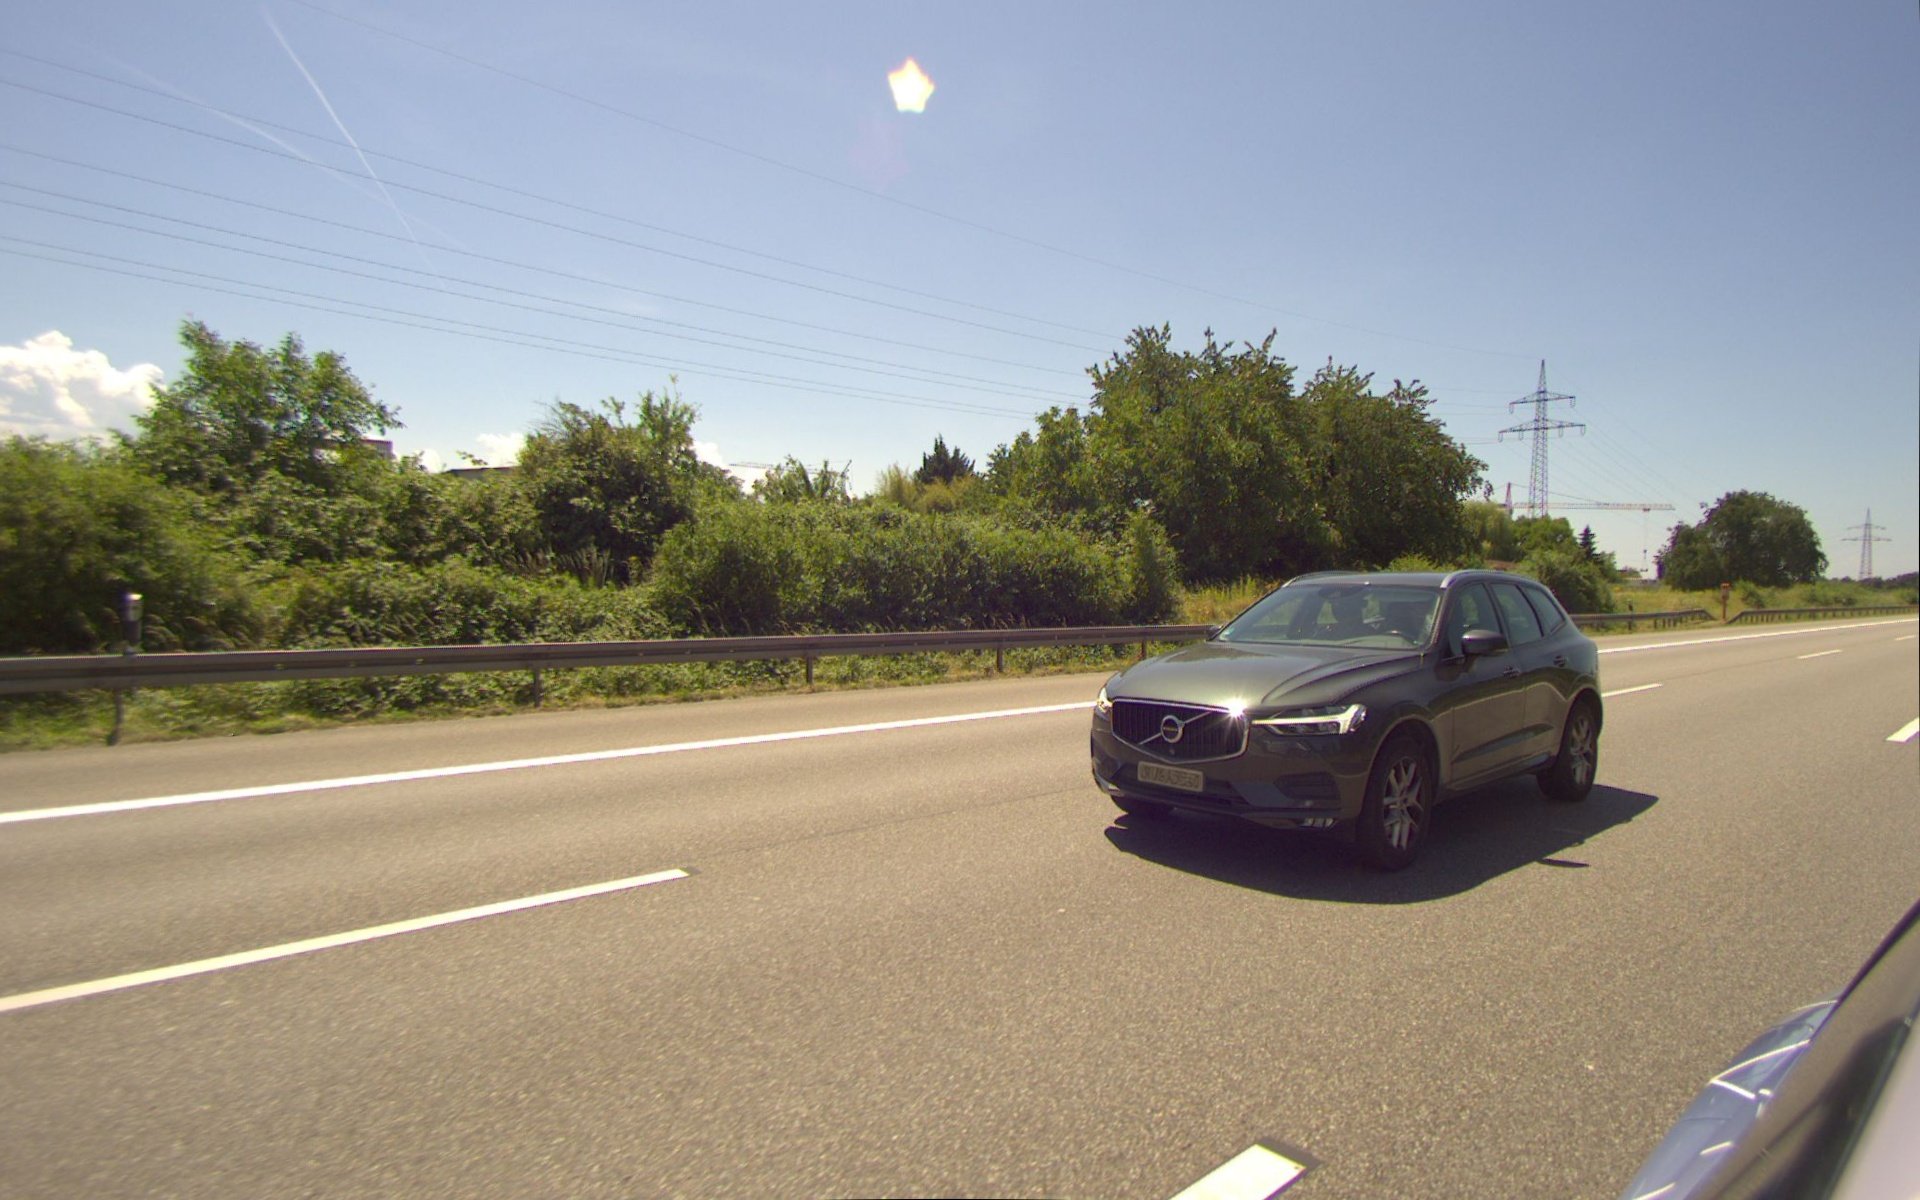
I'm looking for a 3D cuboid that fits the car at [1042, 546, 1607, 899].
[{"bbox_3d":[2.583,0.546,6.721,3.934,1.643,1.877,0,1,-41],"label":"car"}]
